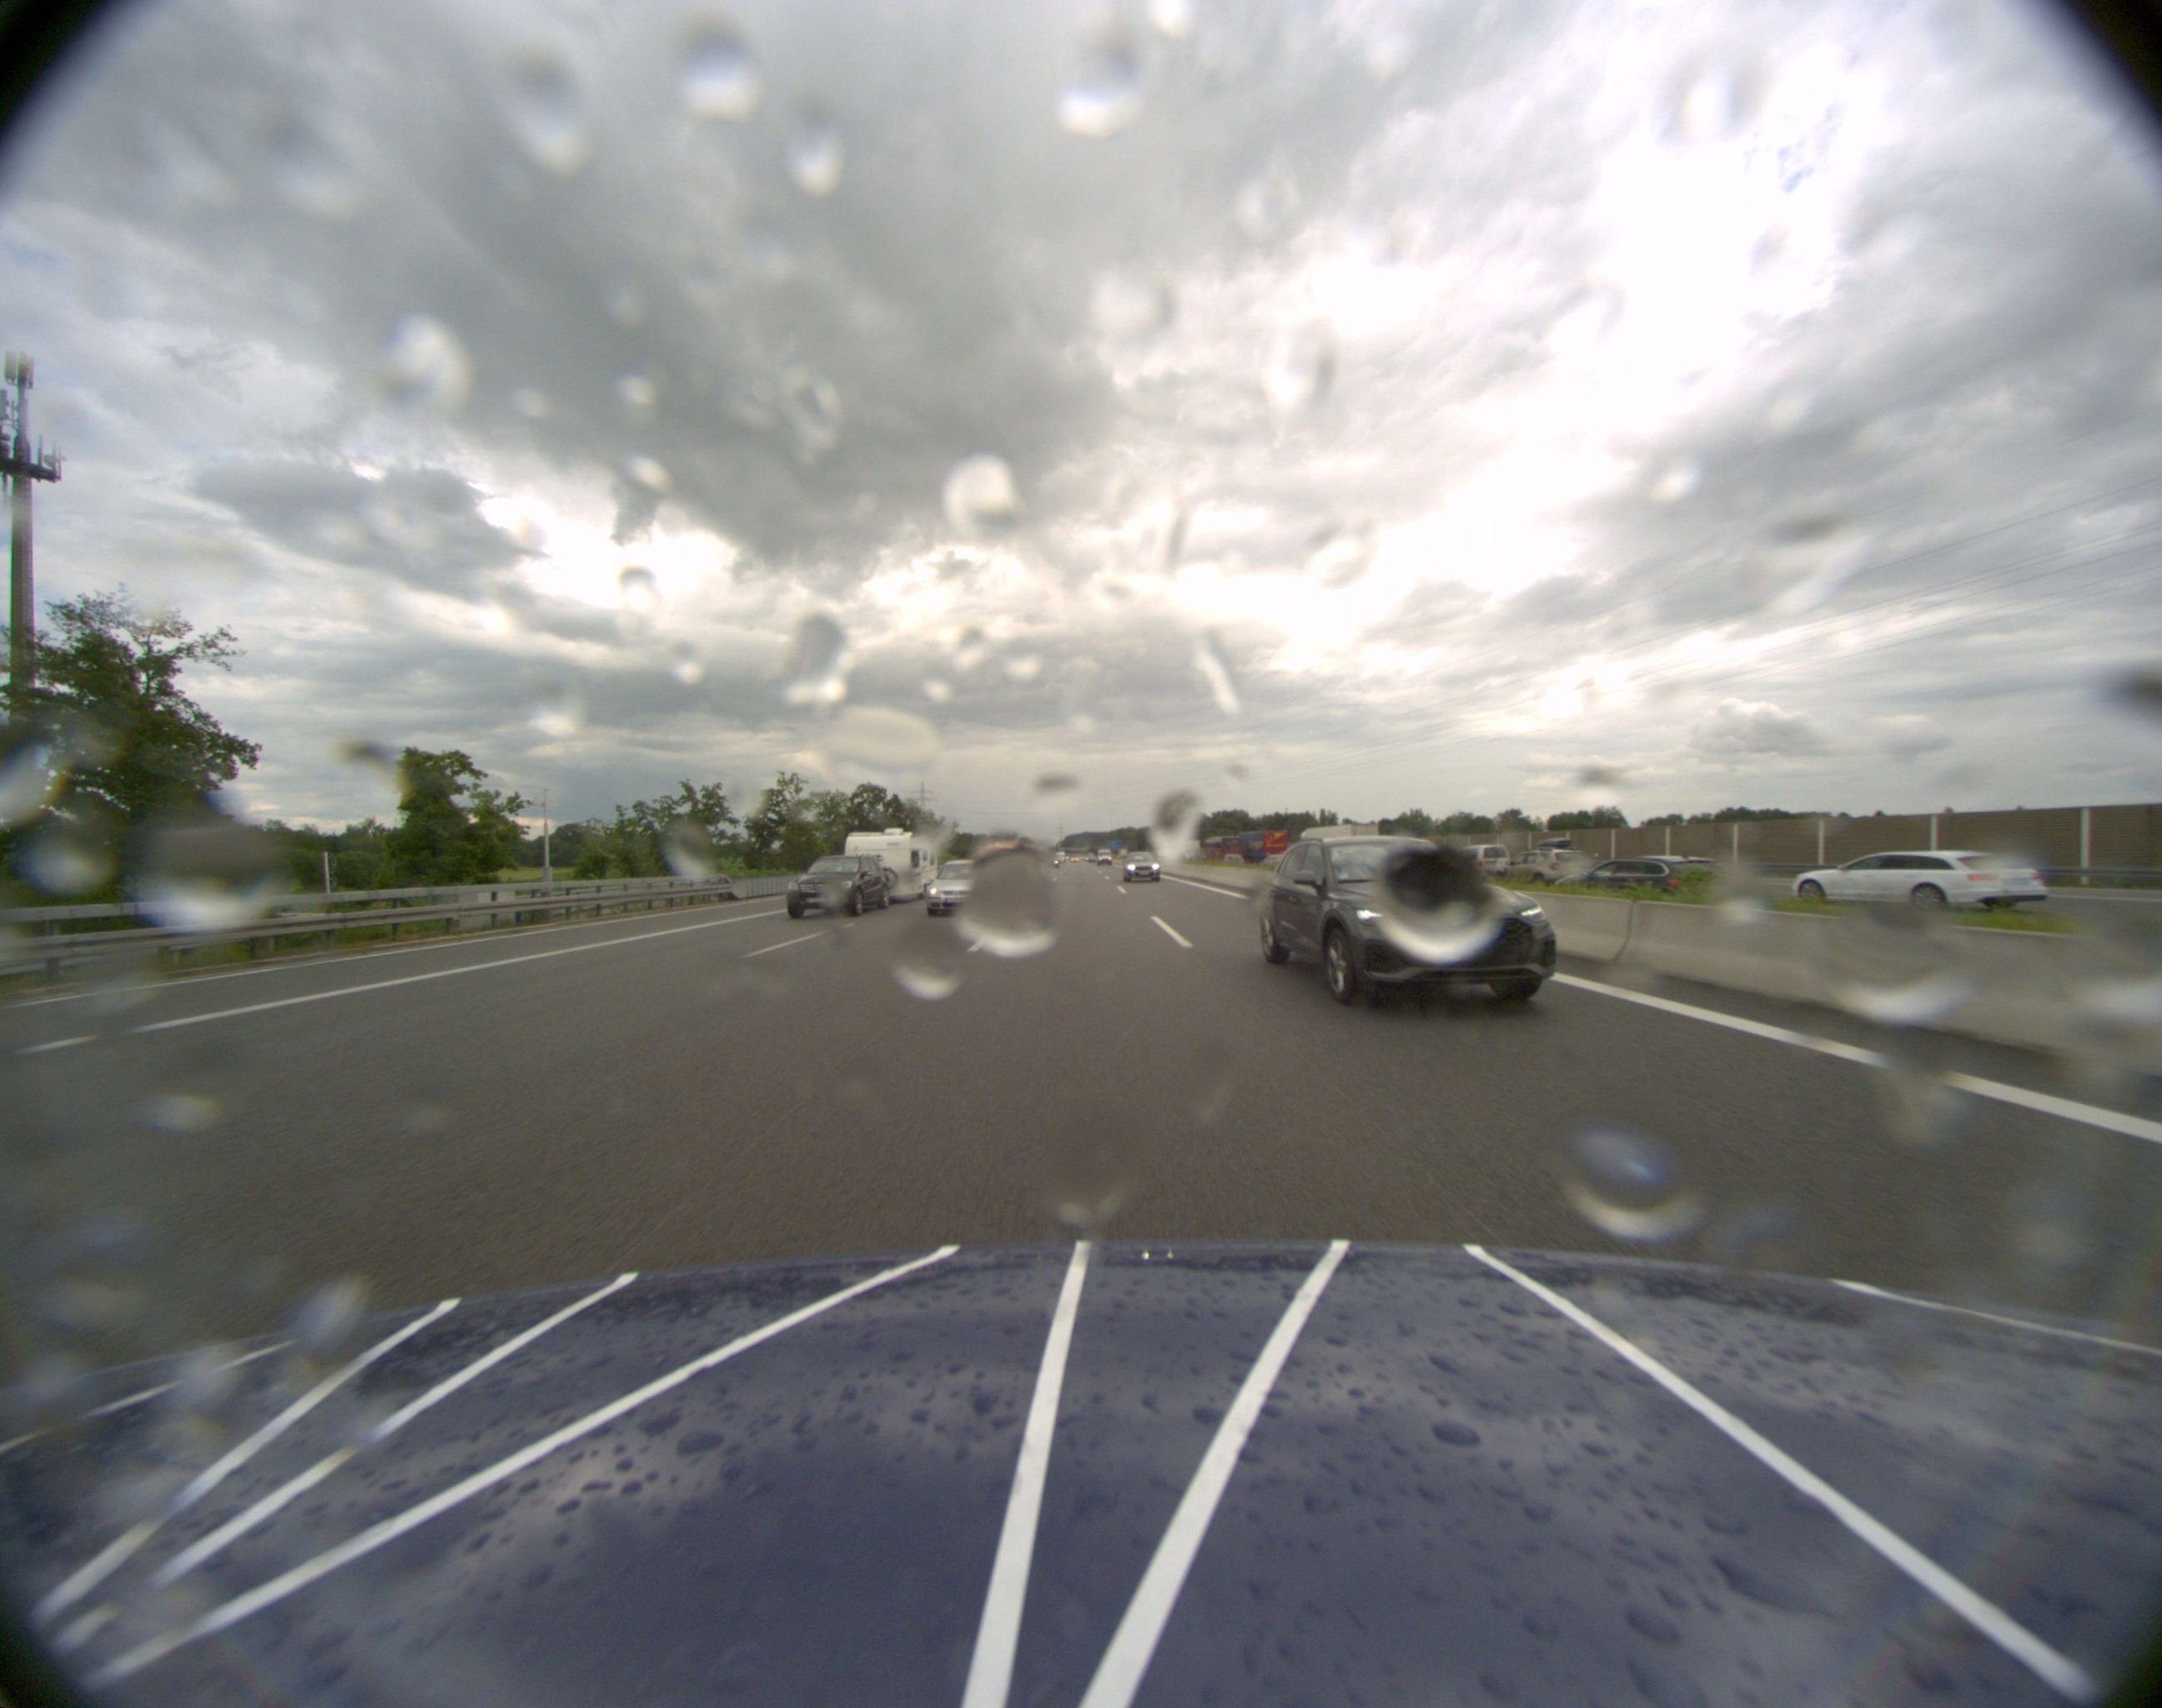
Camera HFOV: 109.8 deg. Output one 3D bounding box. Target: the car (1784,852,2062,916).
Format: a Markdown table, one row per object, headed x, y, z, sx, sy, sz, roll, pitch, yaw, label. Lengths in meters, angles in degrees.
| x | y | z | sx | sy | sz | roll | pitch | yaw | label |
| --- | --- | --- | --- | --- | --- | --- | --- | --- | --- |
| 21.423 | 0.676 | 19.739 | 1.792 | 1.373 | 4.860 | -2 | 0 | -1 | car |

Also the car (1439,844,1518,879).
| x | y | z | sx | sy | sz | roll | pitch | yaw | label |
| --- | --- | --- | --- | --- | --- | --- | --- | --- | --- |
| 21.386 | 0.394 | 41.072 | 1.795 | 1.729 | 4.577 | -2 | 0 | -1 | car |

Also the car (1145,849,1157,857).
| x | y | z | sx | sy | sz | roll | pitch | yaw | label |
| --- | --- | --- | --- | --- | --- | --- | --- | --- | --- |
| 17.477 | -0.235 | 189.924 | 2.286 | 1.956 | 6.086 | -2 | 0 | 1 | car |

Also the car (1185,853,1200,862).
| x | y | z | sx | sy | sz | roll | pitch | yaw | label |
| --- | --- | --- | --- | --- | --- | --- | --- | --- | --- |
| 18.627 | 0.511 | 126.716 | 1.792 | 1.446 | 4.564 | -2 | 0 | -1 | car |

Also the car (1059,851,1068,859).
| x | y | z | sx | sy | sz | roll | pitch | yaw | label |
| --- | --- | --- | --- | --- | --- | --- | --- | --- | --- |
| -4.204 | 0.250 | 182.759 | 1.999 | 2.002 | 3.999 | -2 | 0 | -1 | car |

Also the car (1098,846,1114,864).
| x | y | z | sx | sy | sz | roll | pitch | yaw | label |
| --- | --- | --- | --- | --- | --- | --- | --- | --- | --- |
| 3.654 | 0.088 | 111.814 | 1.999 | 2.524 | 4.808 | -2 | 0 | -1 | car |

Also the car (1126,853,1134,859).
| x | y | z | sx | sy | sz | roll | pitch | yaw | label |
| --- | --- | --- | --- | --- | --- | --- | --- | --- | --- |
| 13.233 | 0.454 | 205.984 | 1.792 | 1.446 | 4.564 | -2 | 0 | -1 | car |

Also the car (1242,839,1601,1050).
| x | y | z | sx | sy | sz | roll | pitch | yaw | label |
| --- | --- | --- | --- | --- | --- | --- | --- | --- | --- |
| 3.333 | 0.736 | 8.800 | 1.913 | 1.681 | 5.168 | -2 | 0 | 1 | car |

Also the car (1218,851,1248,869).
| x | y | z | sx | sy | sz | roll | pitch | yaw | label |
| --- | --- | --- | --- | --- | --- | --- | --- | --- | --- |
| 13.681 | 0.537 | 68.657 | 1.721 | 1.514 | 4.212 | -2 | 0 | -1 | car |

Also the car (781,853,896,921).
| x | y | z | sx | sy | sz | roll | pitch | yaw | label |
| --- | --- | --- | --- | --- | --- | --- | --- | --- | --- |
| -7.028 | 0.870 | 22.546 | 1.925 | 1.766 | 4.502 | -2 | 0 | 0 | car |

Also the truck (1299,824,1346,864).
| x | y | z | sx | sy | sz | roll | pitch | yaw | label |
| --- | --- | --- | --- | --- | --- | --- | --- | --- | --- |
| 26.297 | -1.056 | 83.084 | 2.908 | 4.092 | 6.621 | -2 | 0 | -1 | truck |

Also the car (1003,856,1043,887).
| x | y | z | sx | sy | sz | roll | pitch | yaw | label |
| --- | --- | --- | --- | --- | --- | --- | --- | --- | --- |
| -2.926 | 0.854 | 39.135 | 1.717 | 1.437 | 4.000 | -2 | 0 | 0 | car |

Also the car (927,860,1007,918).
| x | y | z | sx | sy | sz | roll | pitch | yaw | label |
| --- | --- | --- | --- | --- | --- | --- | --- | --- | --- |
| -3.180 | 0.942 | 21.876 | 1.683 | 1.437 | 4.000 | -2 | 0 | 0 | car |

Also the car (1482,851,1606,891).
| x | y | z | sx | sy | sz | roll | pitch | yaw | label |
| --- | --- | --- | --- | --- | --- | --- | --- | --- | --- |
| 17.859 | 0.610 | 29.619 | 1.792 | 1.373 | 4.860 | -2 | 0 | -1 | car |

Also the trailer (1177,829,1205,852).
| x | y | z | sx | sy | sz | roll | pitch | yaw | label |
| --- | --- | --- | --- | --- | --- | --- | --- | --- | --- |
| 21.650 | -2.605 | 150.561 | 3.669 | 4.084 | 13.398 | -2 | 0 | 0 | trailer |

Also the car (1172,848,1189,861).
| x | y | z | sx | sy | sz | roll | pitch | yaw | label |
| --- | --- | --- | --- | --- | --- | --- | --- | --- | --- |
| 14.287 | 0.077 | 109.005 | 1.792 | 1.656 | 4.295 | -2 | 0 | -1 | car |

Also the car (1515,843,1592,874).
| x | y | z | sx | sy | sz | roll | pitch | yaw | label |
| --- | --- | --- | --- | --- | --- | --- | --- | --- | --- |
| 26.637 | 0.251 | 42.976 | 1.792 | 1.588 | 3.955 | -2 | 0 | -1 | car |

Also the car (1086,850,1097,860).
| x | y | z | sx | sy | sz | roll | pitch | yaw | label |
| --- | --- | --- | --- | --- | --- | --- | --- | --- | --- |
| 2.195 | 0.228 | 157.949 | 1.999 | 2.002 | 3.999 | -2 | 0 | -1 | car |

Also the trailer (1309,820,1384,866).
| x | y | z | sx | sy | sz | roll | pitch | yaw | label |
| --- | --- | --- | --- | --- | --- | --- | --- | --- | --- |
| 26.338 | -1.038 | 76.267 | 2.907 | 4.092 | 12.697 | -2 | 0 | -1 | trailer |

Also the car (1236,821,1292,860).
| x | y | z | sx | sy | sz | roll | pitch | yaw | label |
| --- | --- | --- | --- | --- | --- | --- | --- | --- | --- |
| 21.547 | -1.500 | 90.493 | 2.990 | 4.100 | 14.393 | -2 | 0 | -1 | car |

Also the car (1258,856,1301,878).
| x | y | z | sx | sy | sz | roll | pitch | yaw | label |
| --- | --- | --- | --- | --- | --- | --- | --- | --- | --- |
| 14.448 | 0.932 | 55.568 | 1.721 | 1.418 | 4.860 | -2 | 0 | -1 | car |

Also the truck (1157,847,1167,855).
| x | y | z | sx | sy | sz | roll | pitch | yaw | label |
| --- | --- | --- | --- | --- | --- | --- | --- | --- | --- |
| 24.139 | -0.893 | 226.824 | 2.108 | 2.437 | 6.263 | -2 | 0 | -1 | truck |

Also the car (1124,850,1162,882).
| x | y | z | sx | sy | sz | roll | pitch | yaw | label |
| --- | --- | --- | --- | --- | --- | --- | --- | --- | --- |
| 3.415 | 0.637 | 42.723 | 1.840 | 1.615 | 4.915 | -2 | 0 | 2 | car |

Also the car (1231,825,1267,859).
| x | y | z | sx | sy | sz | roll | pitch | yaw | label |
| --- | --- | --- | --- | --- | --- | --- | --- | --- | --- |
| 21.458 | -1.530 | 97.366 | 2.990 | 4.126 | 6.041 | -2 | 0 | -1 | car |

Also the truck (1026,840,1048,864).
| x | y | z | sx | sy | sz | roll | pitch | yaw | label |
| --- | --- | --- | --- | --- | --- | --- | --- | --- | --- |
| -6.934 | -0.354 | 120.815 | 2.870 | 3.633 | 9.593 | -2 | 0 | 0 | truck |

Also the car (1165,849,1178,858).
| x | y | z | sx | sy | sz | roll | pitch | yaw | label |
| --- | --- | --- | --- | --- | --- | --- | --- | --- | --- |
| 17.591 | -0.112 | 147.843 | 1.792 | 1.553 | 4.564 | -2 | 0 | -1 | car |

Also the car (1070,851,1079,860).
| x | y | z | sx | sy | sz | roll | pitch | yaw | label |
| --- | --- | --- | --- | --- | --- | --- | --- | --- | --- |
| -1.436 | 0.348 | 173.935 | 1.999 | 2.002 | 3.999 | -2 | 0 | -1 | car |

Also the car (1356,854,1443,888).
| x | y | z | sx | sy | sz | roll | pitch | yaw | label |
| --- | --- | --- | --- | --- | --- | --- | --- | --- | --- |
| 14.166 | 0.709 | 34.135 | 1.792 | 1.373 | 4.860 | -2 | 0 | -1 | car |

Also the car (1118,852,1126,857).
| x | y | z | sx | sy | sz | roll | pitch | yaw | label |
| --- | --- | --- | --- | --- | --- | --- | --- | --- | --- |
| 12.687 | 0.121 | 235.358 | 1.999 | 1.517 | 4.740 | -2 | 0 | -2 | car |

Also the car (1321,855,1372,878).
| x | y | z | sx | sy | sz | roll | pitch | yaw | label |
| --- | --- | --- | --- | --- | --- | --- | --- | --- | --- |
| 18.188 | 0.837 | 52.323 | 1.721 | 1.418 | 4.860 | -2 | 0 | -1 | car |

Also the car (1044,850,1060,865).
| x | y | z | sx | sy | sz | roll | pitch | yaw | label |
| --- | --- | --- | --- | --- | --- | --- | --- | --- | --- |
| -3.677 | 0.424 | 96.950 | 1.999 | 1.701 | 3.999 | -2 | 0 | -1 | car |

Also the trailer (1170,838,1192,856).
| x | y | z | sx | sy | sz | roll | pitch | yaw | label |
| --- | --- | --- | --- | --- | --- | --- | --- | --- | --- |
| 25.479 | -1.707 | 194.811 | 3.670 | 4.212 | 12.465 | -2 | 0 | -1 | trailer |

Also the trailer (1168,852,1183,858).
| x | y | z | sx | sy | sz | roll | pitch | yaw | label |
| --- | --- | --- | --- | --- | --- | --- | --- | --- | --- |
| 17.744 | 0.149 | 143.180 | 2.098 | 1.064 | 4.759 | -2 | 0 | -1 | trailer |

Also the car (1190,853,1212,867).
| x | y | z | sx | sy | sz | roll | pitch | yaw | label |
| --- | --- | --- | --- | --- | --- | --- | --- | --- | --- |
| 14.201 | 0.651 | 89.904 | 1.792 | 1.524 | 4.564 | -2 | 0 | -1 | car |

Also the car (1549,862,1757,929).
| x | y | z | sx | sy | sz | roll | pitch | yaw | label |
| --- | --- | --- | --- | --- | --- | --- | --- | --- | --- |
| 14.235 | 0.950 | 19.323 | 1.792 | 1.373 | 4.589 | -2 | 0 | -1 | car |

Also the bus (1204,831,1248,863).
| x | y | z | sx | sy | sz | roll | pitch | yaw | label |
| --- | --- | --- | --- | --- | --- | --- | --- | --- | --- |
| 18.061 | -0.849 | 95.653 | 2.897 | 3.590 | 12.757 | -2 | 0 | -1 | bus |

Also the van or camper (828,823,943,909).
| x | y | z | sx | sy | sz | roll | pitch | yaw | label |
| --- | --- | --- | --- | --- | --- | --- | --- | --- | --- |
| -7.026 | 0.368 | 28.430 | 2.390 | 2.722 | 7.208 | -2 | 0 | 0 | van or camper |

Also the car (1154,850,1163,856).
| x | y | z | sx | sy | sz | roll | pitch | yaw | label |
| --- | --- | --- | --- | --- | --- | --- | --- | --- | --- |
| 21.299 | -0.314 | 208.427 | 1.792 | 1.460 | 4.564 | -2 | 0 | -1 | car |

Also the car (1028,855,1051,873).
| x | y | z | sx | sy | sz | roll | pitch | yaw | label |
| --- | --- | --- | --- | --- | --- | --- | --- | --- | --- |
| -3.719 | 0.863 | 68.089 | 1.841 | 1.437 | 4.000 | -2 | 0 | 0 | car |
